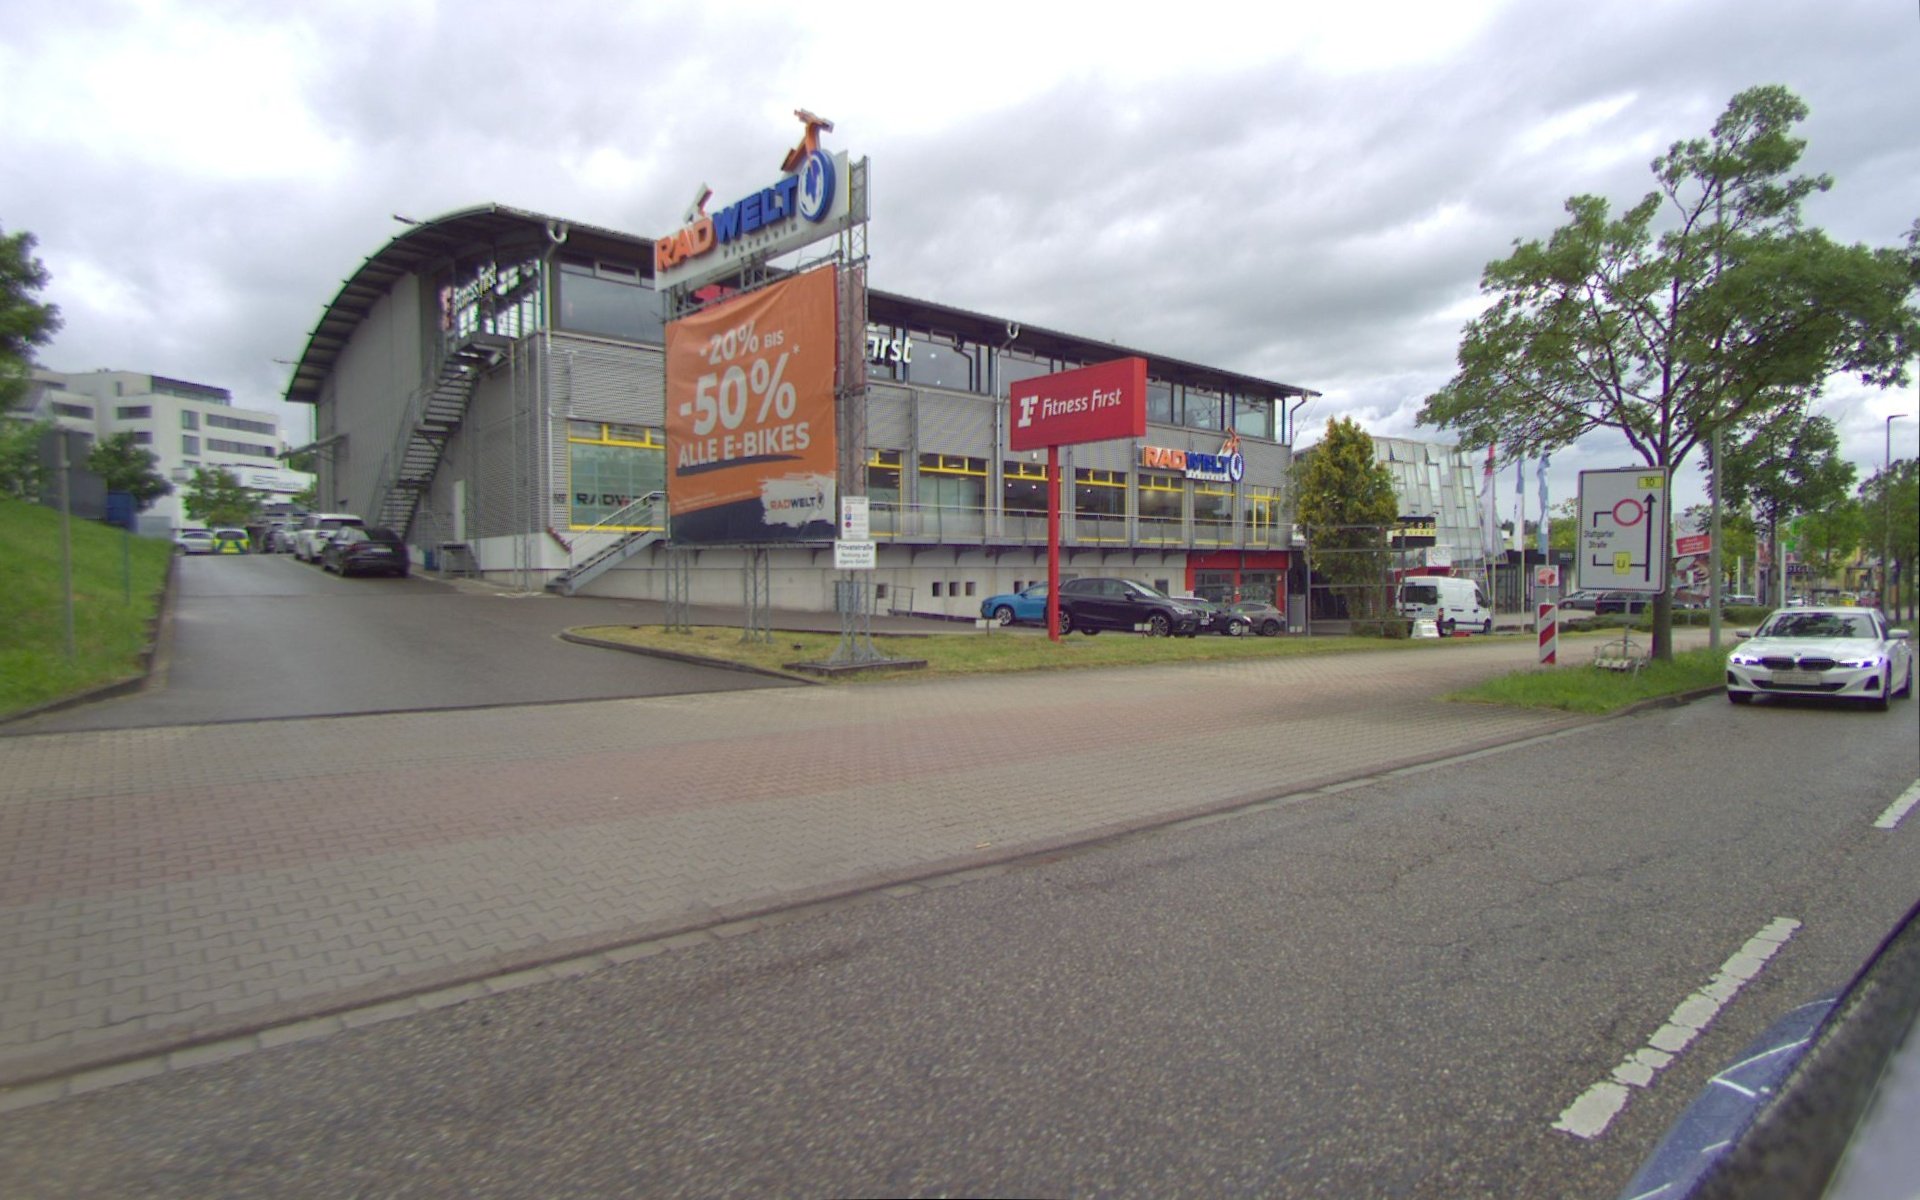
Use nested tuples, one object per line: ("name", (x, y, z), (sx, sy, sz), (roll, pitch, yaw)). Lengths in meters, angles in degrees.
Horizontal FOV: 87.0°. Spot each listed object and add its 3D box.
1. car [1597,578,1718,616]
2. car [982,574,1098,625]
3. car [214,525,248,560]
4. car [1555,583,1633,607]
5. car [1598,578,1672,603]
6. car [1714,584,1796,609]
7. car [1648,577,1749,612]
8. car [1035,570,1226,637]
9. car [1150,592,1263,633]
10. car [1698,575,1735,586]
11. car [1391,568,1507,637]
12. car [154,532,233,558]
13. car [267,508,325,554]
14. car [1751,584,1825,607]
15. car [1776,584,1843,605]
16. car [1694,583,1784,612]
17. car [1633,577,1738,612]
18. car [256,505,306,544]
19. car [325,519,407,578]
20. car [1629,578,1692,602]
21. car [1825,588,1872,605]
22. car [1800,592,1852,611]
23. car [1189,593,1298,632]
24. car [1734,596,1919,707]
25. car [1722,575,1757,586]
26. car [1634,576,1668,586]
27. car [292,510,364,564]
("car", (35.717, -0.182, 51.925), (1.888, 1.620, 4.677), (1, 3, -32))
("car", (2.773, -0.004, 34.794), (3.844, 1.579, 1.736), (2, -1, 7))
("car", (-44.745, -3.529, 62.167), (1.660, 2.038, 4.001), (0, 2, -35))
("car", (46.624, -0.358, 74.496), (4.420, 1.412, 1.798), (3, 4, 6))
("car", (54.217, -0.792, 81.345), (4.426, 1.701, 1.796), (3, 4, 10))
("car", (56.405, -0.247, 71.887), (4.118, 1.490, 1.785), (3, 3, 12))
("car", (40.949, -0.340, 56.201), (1.767, 1.620, 4.181), (0, 4, -38))
("car", (3.988, 0.065, 23.883), (4.079, 1.457, 1.773), (1, -1, 36))
("car", (9.980, 0.503, 41.176), (4.185, 1.489, 1.737), (2, -1, 5))
("car", (109.808, -2.853, 146.935), (1.769, 1.529, 3.993), (0, 2, -42))
("car", (20.082, 0.174, 41.444), (5.579, 2.570, 2.231), (3, -3, -40))
("car", (-52.305, -3.724, 69.099), (3.916, 1.619, 1.696), (1, 1, -12))
("car", (-27.254, -2.853, 41.485), (1.767, 1.673, 4.002), (-1, 6, -37))
("car", (66.124, -0.371, 80.888), (4.110, 1.598, 1.739), (3, 3, 10))
("car", (74.733, -0.508, 89.080), (4.235, 1.598, 1.743), (3, 3, 2))
("car", (49.154, -0.177, 63.919), (1.831, 1.490, 4.177), (0, 4, -42))
("car", (39.047, -0.328, 54.546), (1.795, 1.620, 4.181), (0, 4, -38))
("car", (-32.141, -3.573, 47.880), (1.767, 1.673, 4.002), (-1, 6, -37))
("car", (-17.793, -1.574, 30.247), (1.766, 1.528, 4.003), (-1, 6, -35))
("car", (61.025, -0.876, 88.207), (4.042, 1.766, 1.800), (3, 4, 4))
("car", (105.167, -0.436, 119.827), (3.977, 1.835, 1.745), (2, 1, 37))
("car", (80.037, 0.138, 93.592), (1.714, 1.599, 3.866), (2, 0, 7))
("car", (12.136, 0.530, 43.544), (4.182, 1.489, 1.782), (2, -1, 3))
("car", (13.412, 0.686, 15.478), (4.466, 1.459, 1.805), (0, -1, -43))
("car", (119.642, -3.035, 155.440), (1.769, 1.529, 3.993), (0, 2, -42))
("car", (113.202, -3.085, 165.829), (1.792, 1.601, 4.217), (0, 2, -42))
("car", (-21.856, -2.205, 34.941), (1.767, 1.673, 4.002), (-1, 6, -37))
